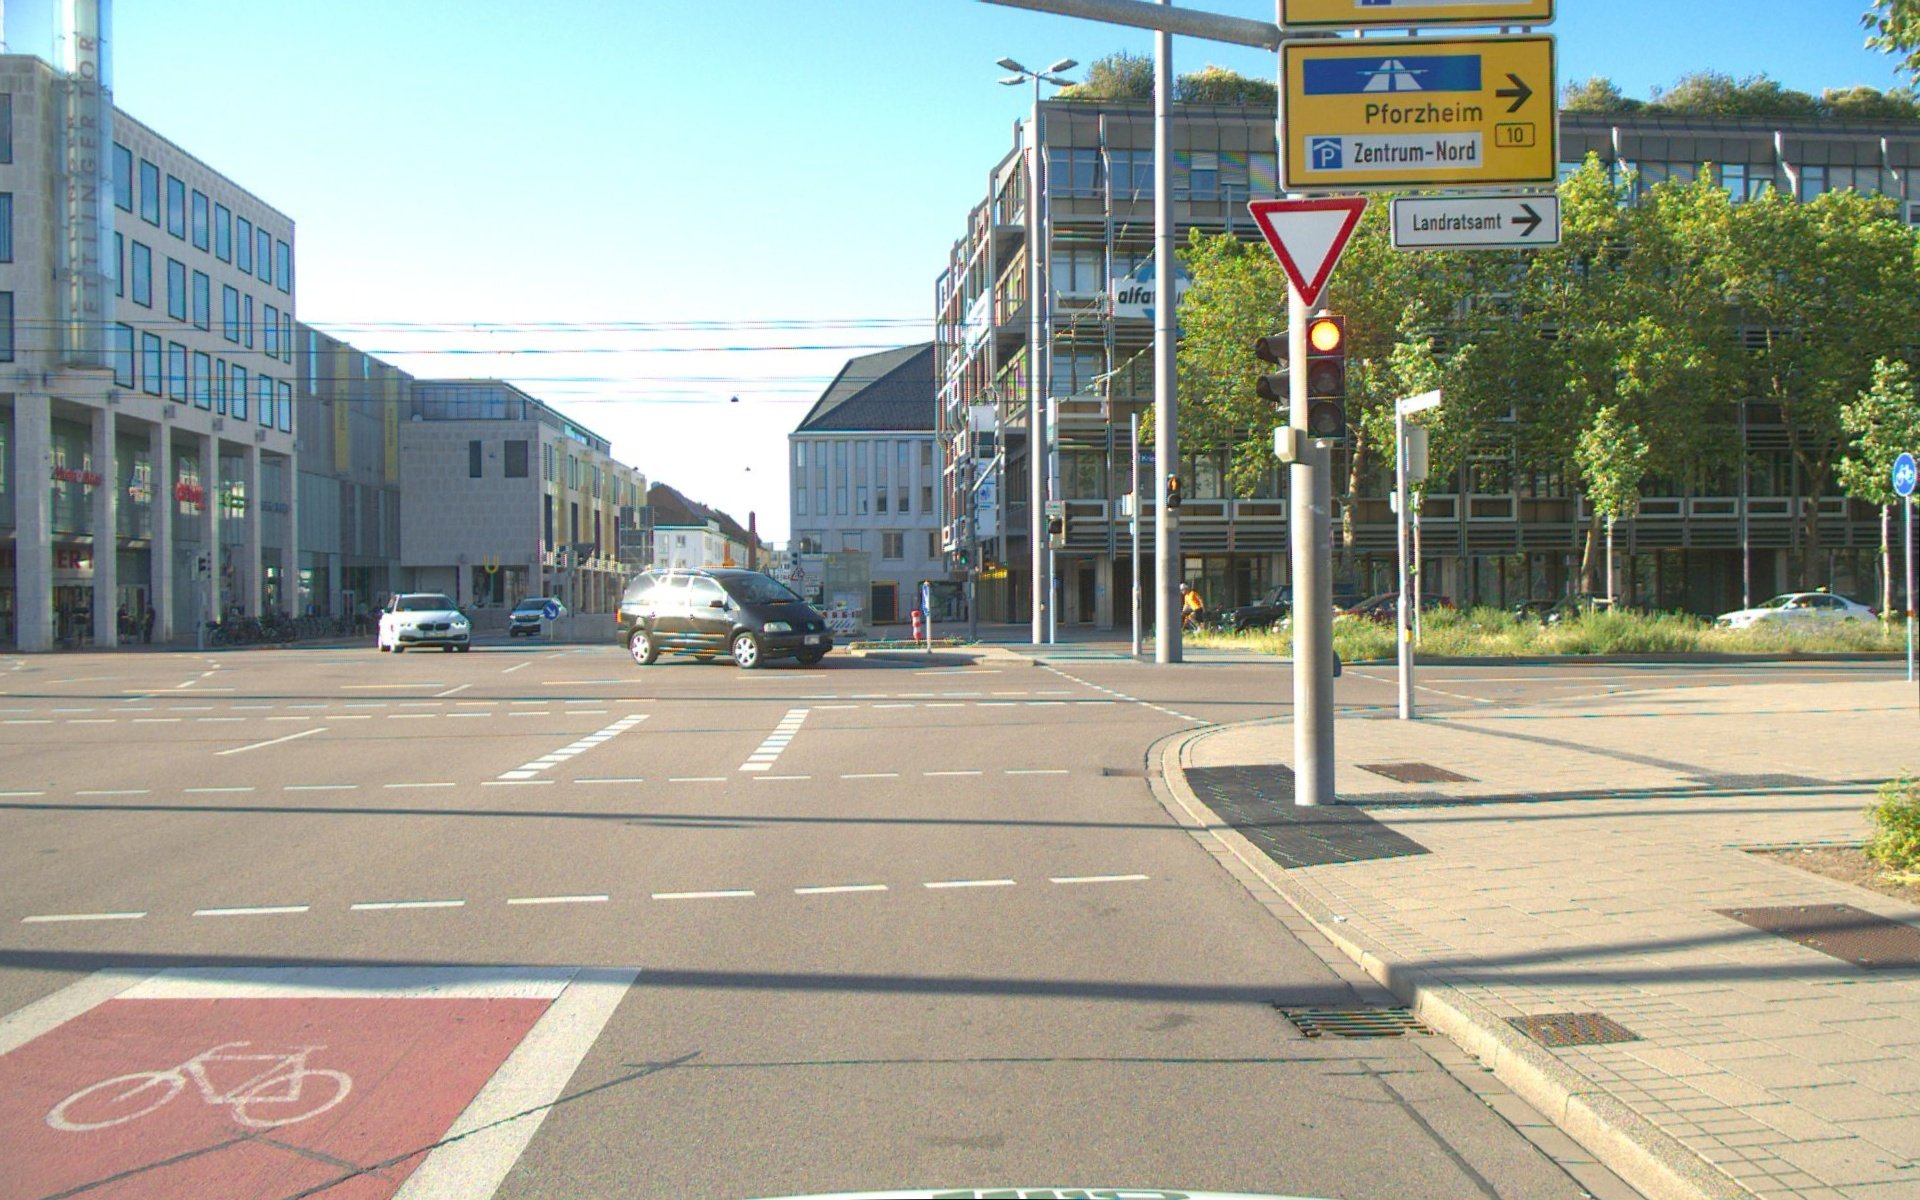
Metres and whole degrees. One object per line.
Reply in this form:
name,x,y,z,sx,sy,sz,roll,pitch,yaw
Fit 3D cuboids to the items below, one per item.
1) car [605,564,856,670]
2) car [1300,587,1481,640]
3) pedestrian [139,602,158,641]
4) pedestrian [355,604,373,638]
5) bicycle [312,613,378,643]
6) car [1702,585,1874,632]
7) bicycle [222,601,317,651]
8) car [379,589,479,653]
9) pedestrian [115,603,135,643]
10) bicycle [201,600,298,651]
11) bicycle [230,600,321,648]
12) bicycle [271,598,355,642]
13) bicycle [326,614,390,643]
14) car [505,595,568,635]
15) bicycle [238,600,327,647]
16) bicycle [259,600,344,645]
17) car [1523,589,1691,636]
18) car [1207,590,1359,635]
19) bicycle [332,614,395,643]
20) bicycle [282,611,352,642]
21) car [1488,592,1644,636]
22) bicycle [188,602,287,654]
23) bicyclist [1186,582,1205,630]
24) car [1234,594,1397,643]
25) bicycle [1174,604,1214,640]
car,-4.219,0.235,30.060,4.559,1.772,1.990,1,2,40
car,12.080,0.348,46.547,4.541,1.380,1.998,0,2,-6
pedestrian,-34.408,0.922,70.105,0.618,1.636,0.645,-1,0,-37
pedestrian,-28.770,0.994,79.852,0.734,1.636,0.619,-1,0,-29
bicycle,-31.335,1.427,84.362,2.992,1.425,0.901,-1,0,-6
car,26.284,0.242,52.573,4.541,1.380,1.998,0,2,-6
bicycle,-29.614,1.110,70.989,3.551,2.049,1.085,-1,0,-6
car,-13.280,0.479,41.197,1.967,1.380,4.613,-1,2,-23
pedestrian,-35.058,0.969,69.456,0.618,1.636,0.645,-1,0,-37
bicycle,-29.853,1.070,69.521,3.551,2.049,1.085,-1,0,-6
bicycle,-30.563,1.065,73.903,3.551,2.049,1.085,-1,0,-6
bicycle,-30.877,0.947,78.974,3.551,2.049,0.901,-1,0,-6
bicycle,-31.387,1.468,86.247,2.992,1.425,0.901,-1,0,-6
car,-18.464,0.618,72.333,1.954,1.651,4.234,-1,0,-5
bicycle,-30.720,1.076,75.046,3.551,2.049,1.085,-1,0,-6
bicycle,-30.683,1.039,77.138,3.551,2.049,0.901,-1,0,-6
car,20.358,0.373,52.143,4.541,1.380,1.998,0,2,-6
car,10.535,0.389,54.137,4.541,1.380,1.998,0,2,-6
bicycle,-31.600,1.514,87.654,2.992,1.425,0.901,-1,0,-6
bicycle,-31.056,1.263,79.945,2.992,1.425,0.901,-1,0,-6
car,20.396,0.458,55.747,4.541,1.380,1.998,0,2,-6
bicycle,-29.766,1.129,68.186,3.554,2.049,1.084,-1,0,-10
bicyclist,6.741,0.181,47.343,0.498,1.361,0.452,-1,0,1
car,10.964,0.552,51.188,4.541,1.380,1.998,0,2,-6
bicycle,6.693,0.626,47.338,1.054,0.988,0.458,-1,0,0
